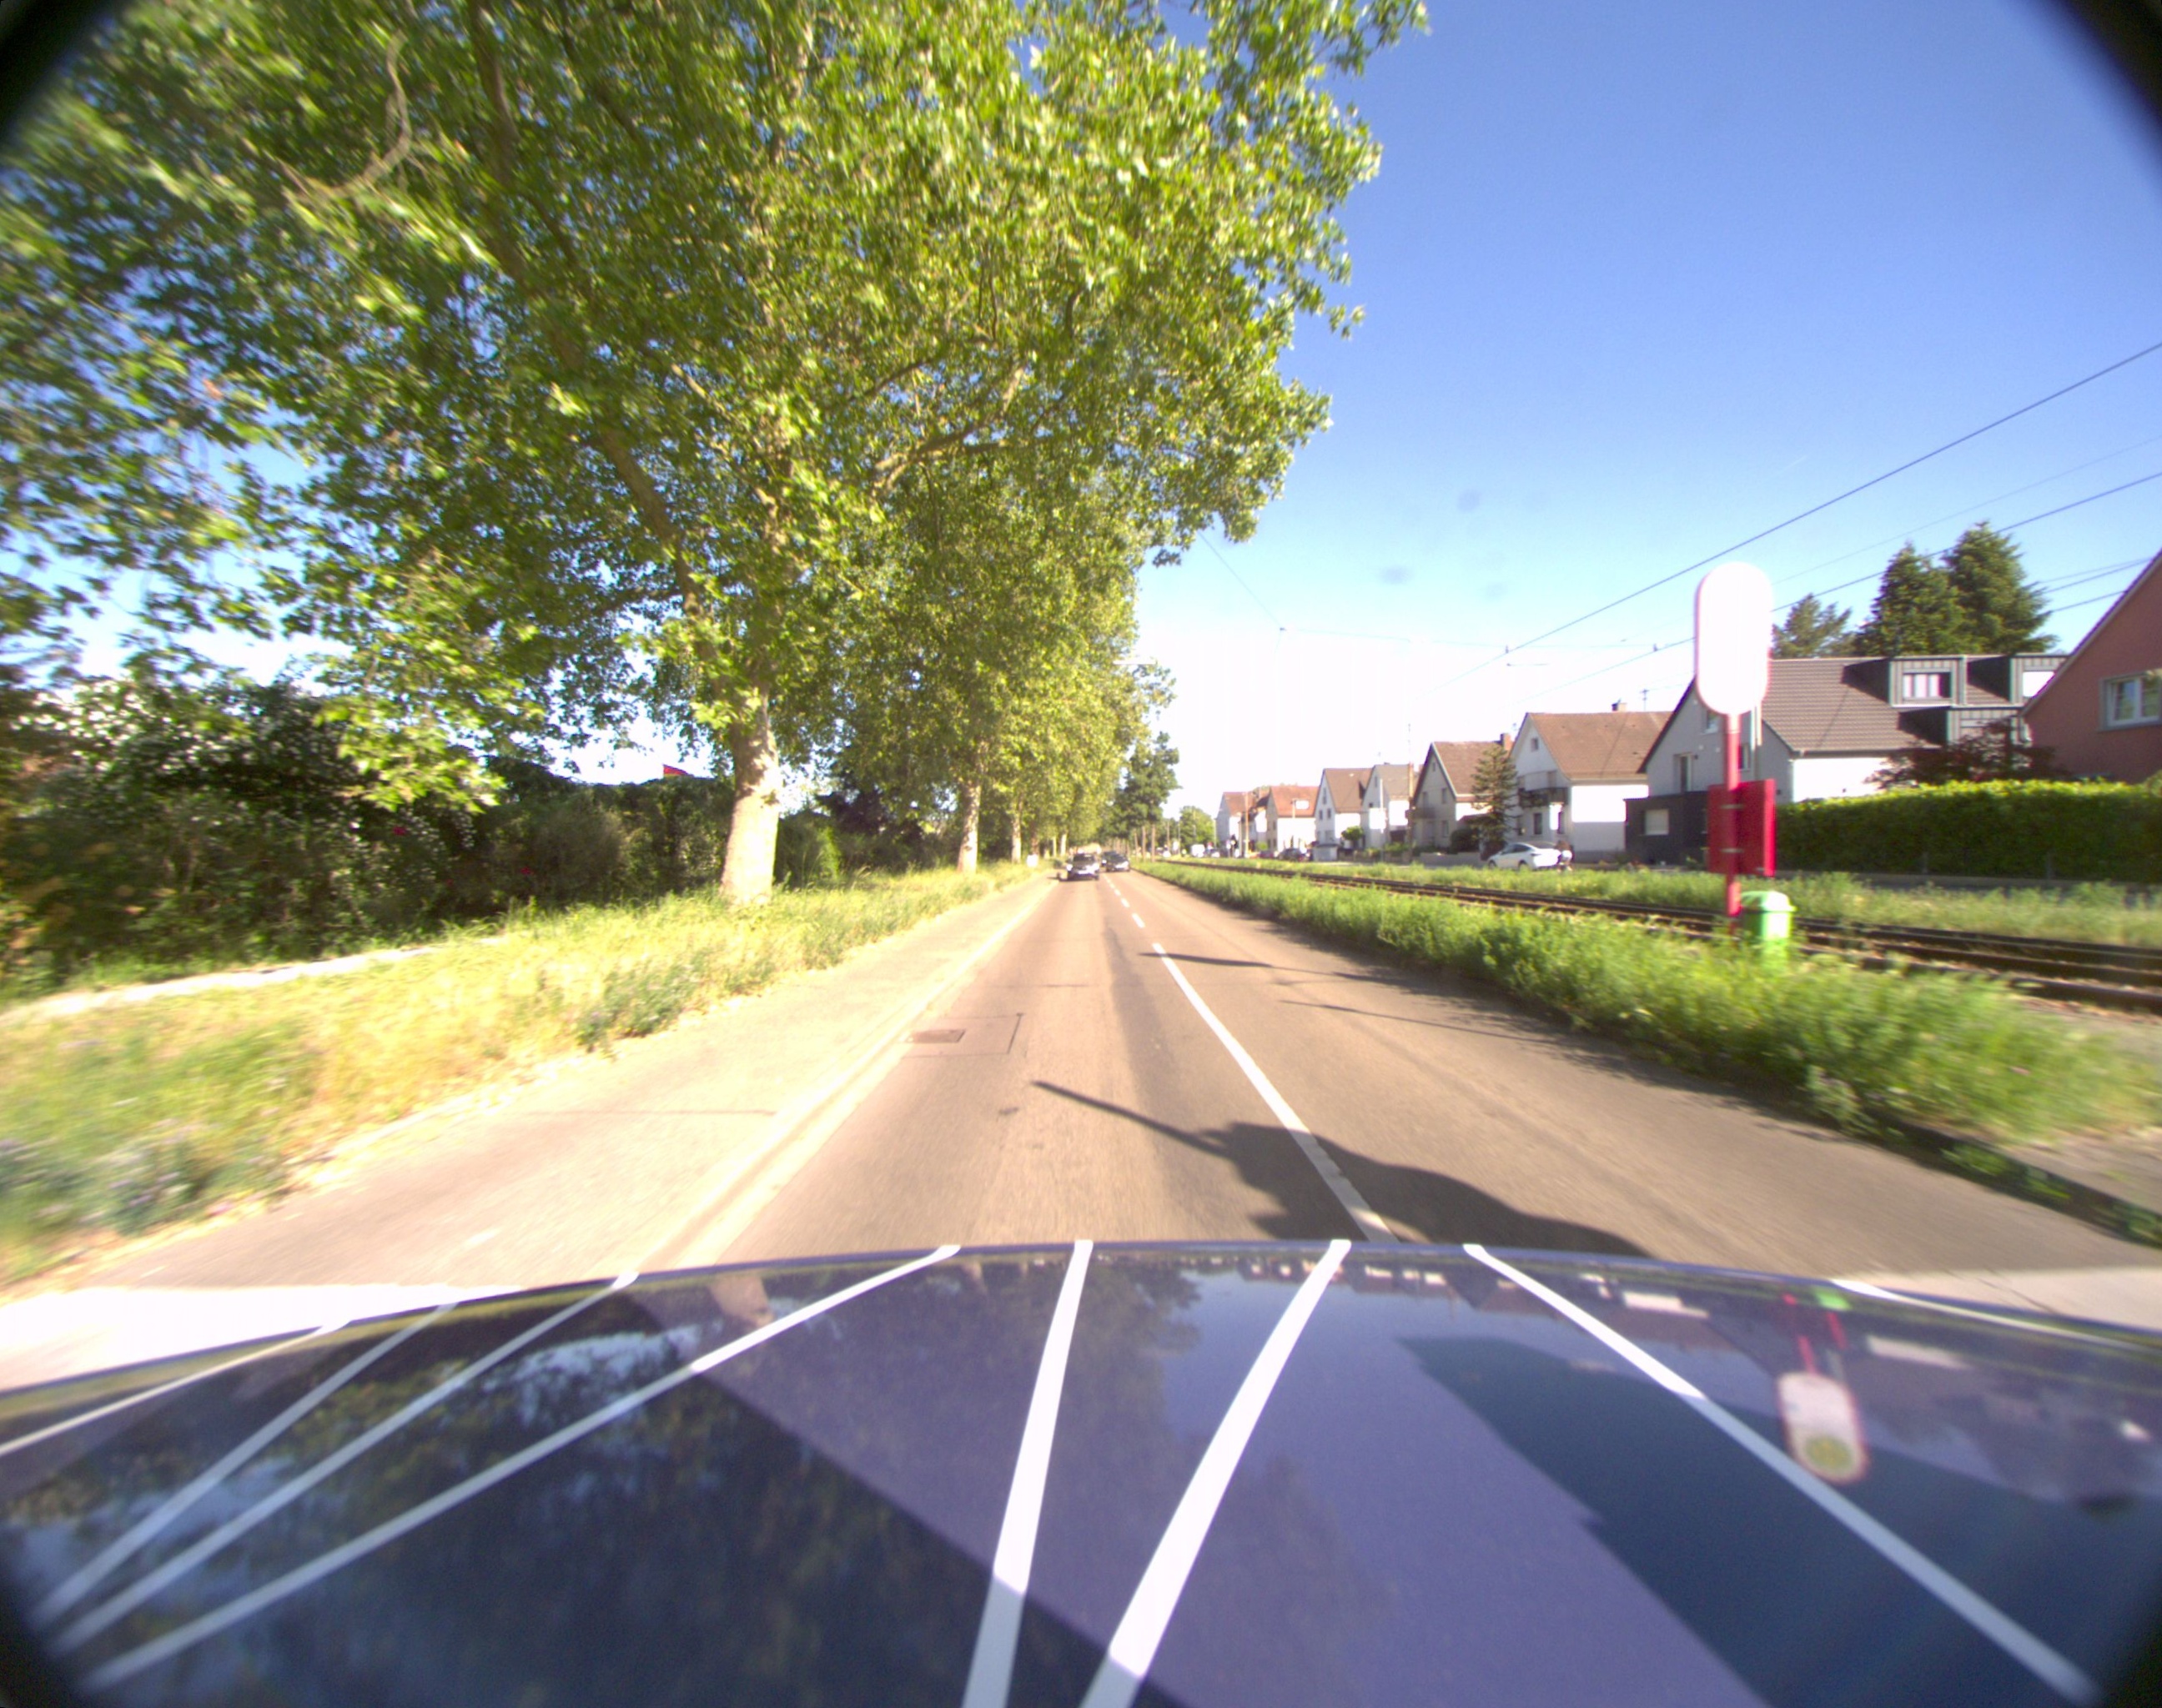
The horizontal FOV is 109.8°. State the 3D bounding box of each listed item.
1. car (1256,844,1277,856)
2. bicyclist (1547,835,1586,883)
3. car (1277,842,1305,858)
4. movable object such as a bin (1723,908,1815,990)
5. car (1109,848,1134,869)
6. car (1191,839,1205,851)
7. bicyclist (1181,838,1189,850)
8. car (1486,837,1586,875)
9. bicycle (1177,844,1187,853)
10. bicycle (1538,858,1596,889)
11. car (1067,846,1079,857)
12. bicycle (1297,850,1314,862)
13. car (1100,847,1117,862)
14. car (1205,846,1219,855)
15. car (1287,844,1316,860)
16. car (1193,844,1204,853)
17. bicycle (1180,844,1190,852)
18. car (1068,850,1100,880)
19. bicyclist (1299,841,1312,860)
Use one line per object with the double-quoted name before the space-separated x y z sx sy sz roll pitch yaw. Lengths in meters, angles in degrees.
"car" 22.716 -0.483 93.183 1.756 1.373 3.823 -2 1 1
"bicyclist" 19.635 0.199 30.765 0.854 1.876 1.072 -2 1 1
"car" 22.263 -0.409 80.639 1.802 1.588 4.011 -2 1 1
"movable object such as a bin" 5.357 0.732 5.930 0.387 0.579 0.379 -2 1 9
"car" 3.109 0.345 58.612 1.692 1.499 3.582 -2 1 1
"car" 23.011 -1.762 149.614 2.132 2.210 4.000 -2 1 4
"bicyclist" 20.378 -2.003 149.044 1.310 2.220 1.623 -2 1 1
"car" 22.110 0.045 37.157 1.998 1.669 4.838 -2 1 1
"bicycle" 20.445 -1.112 154.030 1.354 1.568 3.999 -2 1 1
"bicycle" 19.677 0.755 30.824 0.854 1.128 2.309 -2 1 1
"car" -1.208 -0.369 116.583 1.692 1.499 3.582 -2 1 1
"bicycle" 20.109 0.178 68.129 0.854 0.946 2.309 -2 1 1
"car" 2.950 0.084 81.912 1.692 1.499 3.582 -2 1 1
"car" 22.557 -0.613 130.799 1.791 1.497 3.999 -2 1 1
"car" 22.145 -0.262 76.416 1.738 1.481 3.755 -2 1 1
"car" 22.382 -1.023 144.802 1.791 1.497 4.000 -2 1 4
"bicycle" 20.426 -1.180 149.177 1.354 1.486 3.999 -2 1 1
"car" 0.194 0.598 43.644 1.692 1.499 3.582 -3 1 1
"bicyclist" 20.103 -0.333 68.167 0.854 1.665 0.836 -2 1 -1
